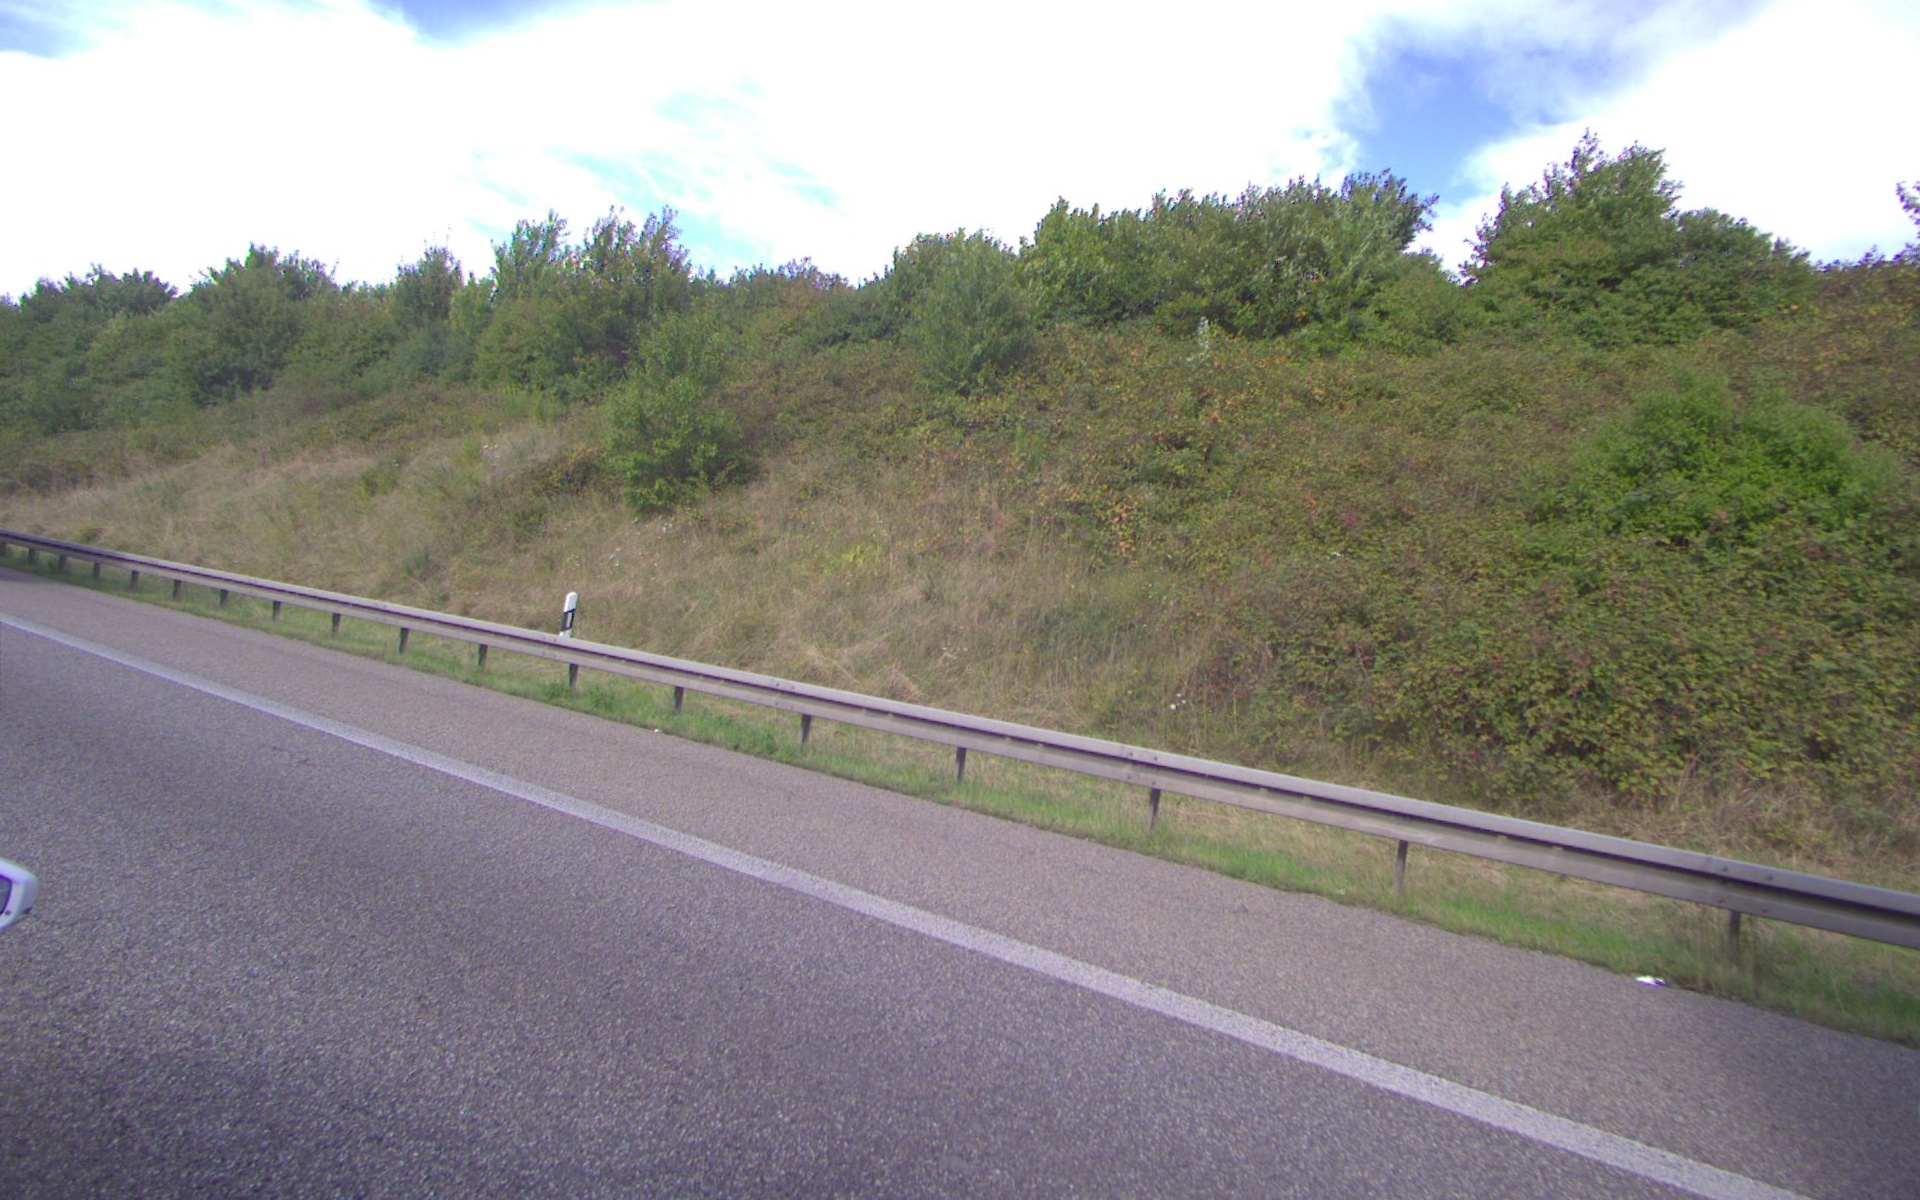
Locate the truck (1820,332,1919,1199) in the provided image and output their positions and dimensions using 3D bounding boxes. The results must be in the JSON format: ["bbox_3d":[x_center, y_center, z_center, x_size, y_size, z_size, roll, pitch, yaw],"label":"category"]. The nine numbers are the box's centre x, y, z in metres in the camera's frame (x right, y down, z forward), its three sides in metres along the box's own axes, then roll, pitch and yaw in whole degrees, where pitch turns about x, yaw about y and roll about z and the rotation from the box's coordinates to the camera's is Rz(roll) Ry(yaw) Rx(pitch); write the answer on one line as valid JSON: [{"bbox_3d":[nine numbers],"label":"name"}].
[{"bbox_3d":[5.027,0.094,0.864,5.808,4.091,2.806,7,-1,33],"label":"truck"}]
